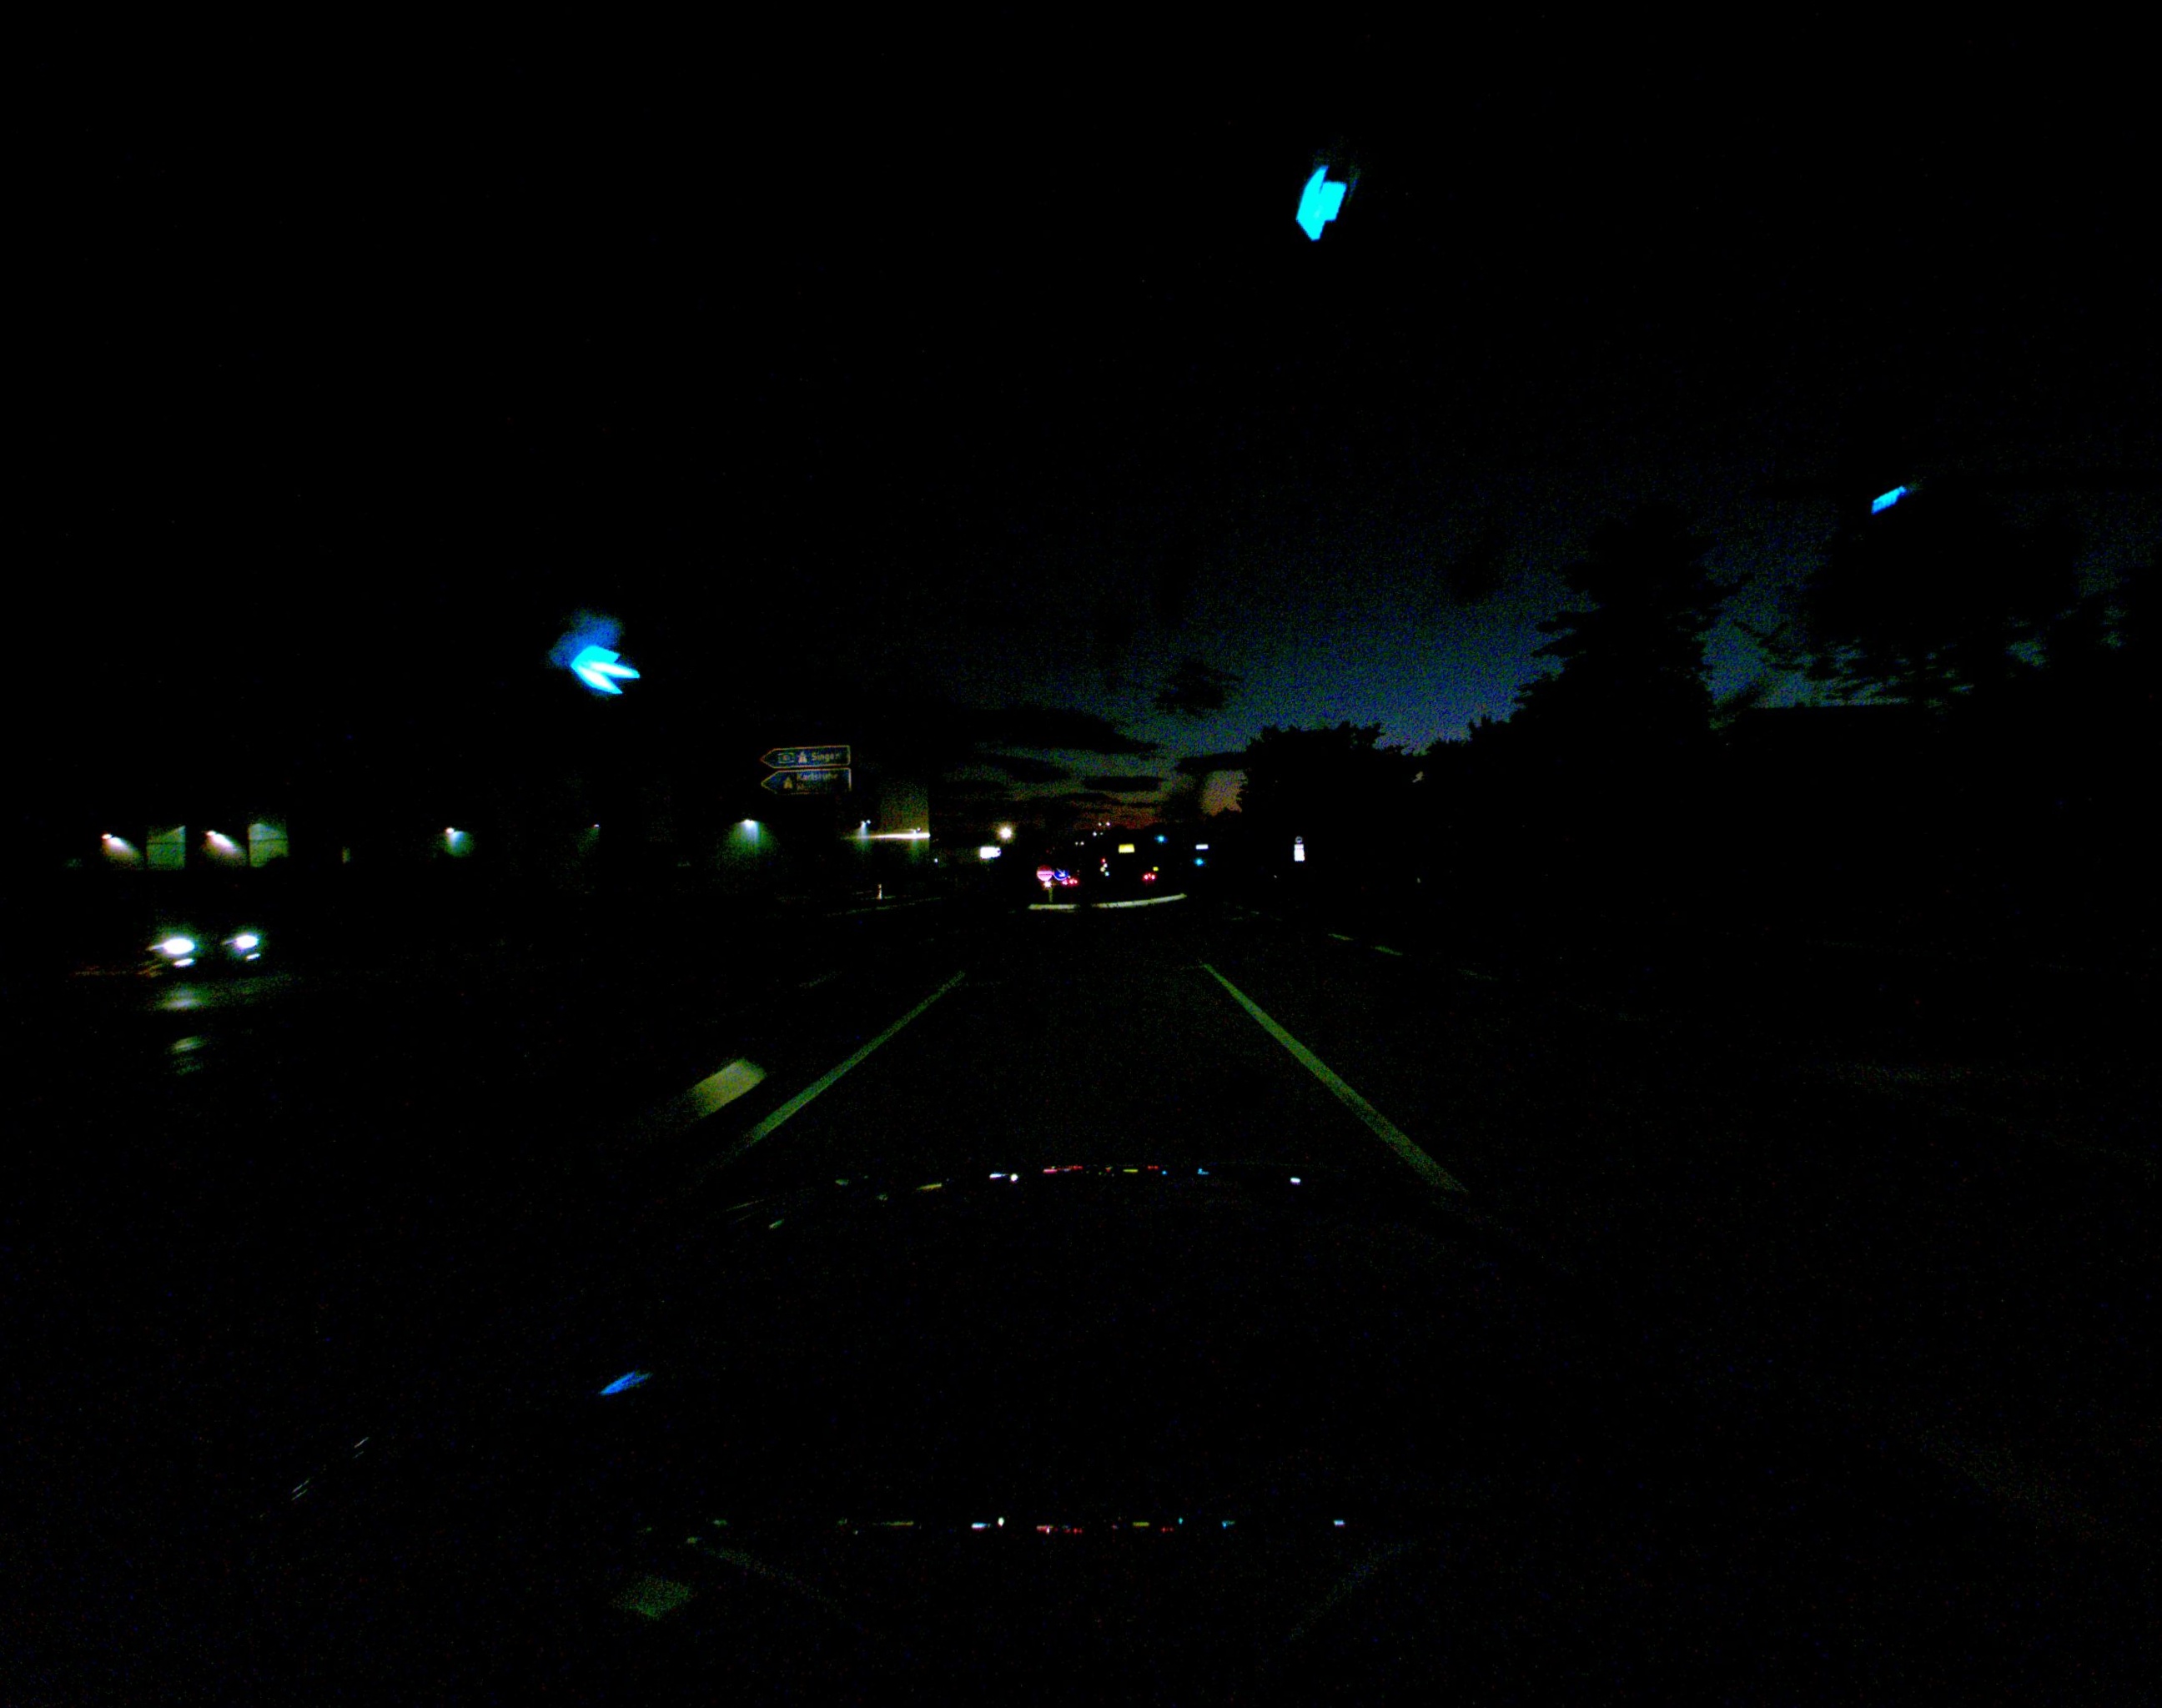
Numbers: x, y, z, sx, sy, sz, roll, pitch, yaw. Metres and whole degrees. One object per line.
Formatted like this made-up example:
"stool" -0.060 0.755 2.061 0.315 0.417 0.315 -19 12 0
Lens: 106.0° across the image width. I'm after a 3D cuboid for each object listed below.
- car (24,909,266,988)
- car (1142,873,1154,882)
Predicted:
"car" -21.215 2.122 18.540 3.837 1.475 1.708 -3 -2 6
"car" 12.432 4.370 150.966 1.928 1.646 4.000 -2 -1 0
